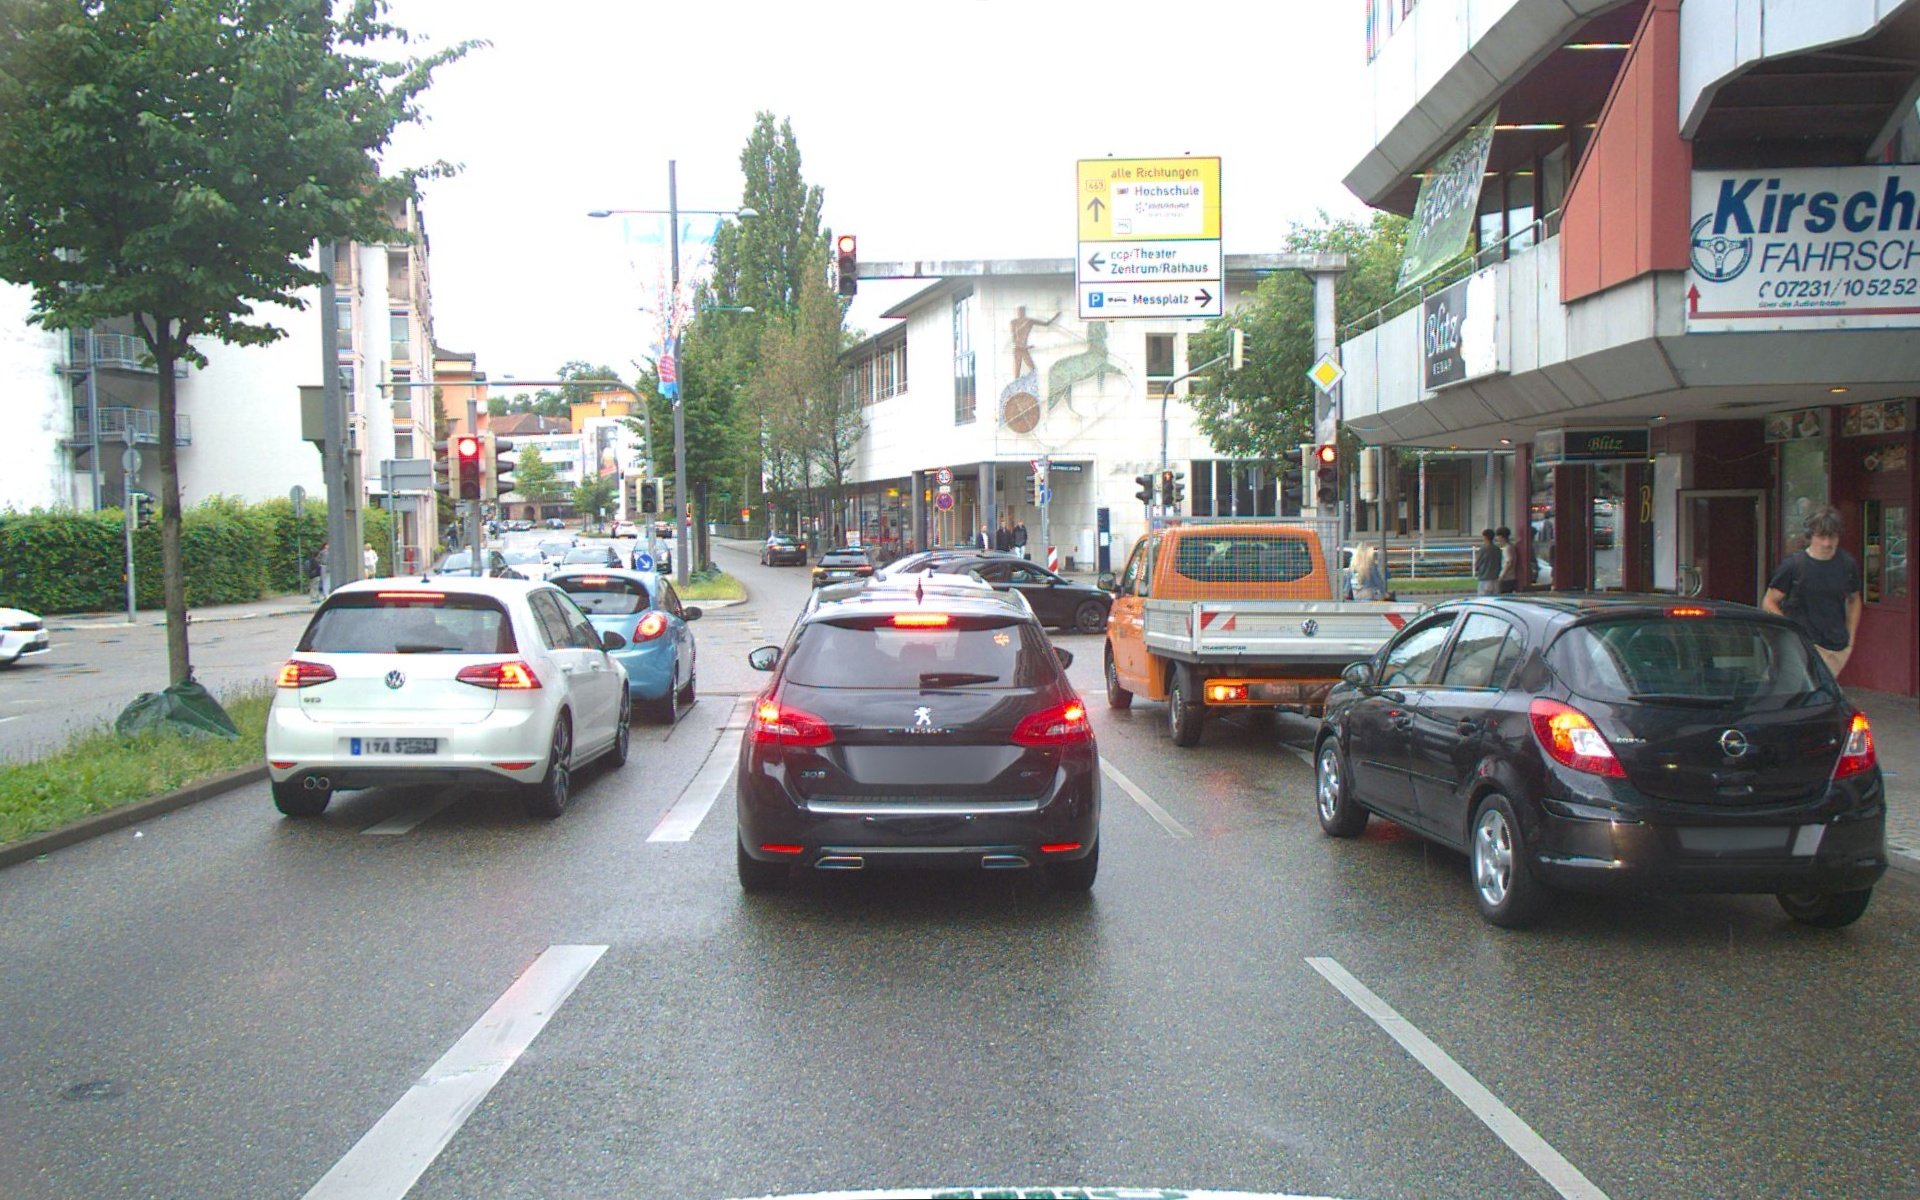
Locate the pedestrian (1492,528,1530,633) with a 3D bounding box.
[{"bbox_3d":[8.929,-0.314,26.815,0.388,1.668,0.504,-1,-1,0],"label":"pedestrian"}]

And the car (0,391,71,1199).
[{"bbox_3d":[-3.010,0.444,1.400,1.873,1.903,5.071,1,-1,-2],"label":"car"}]

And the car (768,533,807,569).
[{"bbox_3d":[-8.408,-2.373,80.464,1.692,1.516,4.724,1,-1,-8],"label":"car"}]

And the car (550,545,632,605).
[{"bbox_3d":[-10.589,-0.691,47.700,1.710,1.607,3.996,1,-1,-4],"label":"car"}]

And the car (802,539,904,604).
[{"bbox_3d":[-2.796,-0.800,44.289,1.749,1.479,4.512,-2,3,8],"label":"car"}]

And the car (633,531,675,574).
[{"bbox_3d":[-12.969,-1.983,70.045,1.713,1.669,3.989,1,-1,-11],"label":"car"}]

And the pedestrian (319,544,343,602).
[{"bbox_3d":[-19.510,-0.846,51.273,0.528,1.778,0.564,1,-1,-6],"label":"pedestrian"}]

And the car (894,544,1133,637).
[{"bbox_3d":[0.972,-0.199,30.701,4.152,1.592,1.700,-1,1,-12],"label":"car"}]

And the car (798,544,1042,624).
[{"bbox_3d":[-0.818,-0.323,33.002,4.641,1.512,1.633,0,1,-14],"label":"car"}]

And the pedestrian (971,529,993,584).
[{"bbox_3d":[0.723,-1.429,54.471,0.623,1.788,0.734,1,-1,6],"label":"pedestrian"}]

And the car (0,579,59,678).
[{"bbox_3d":[-16.950,0.431,26.363,4.215,1.512,1.634,0,1,-11],"label":"car"}]

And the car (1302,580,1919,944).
[{"bbox_3d":[3.100,0.644,8.692,1.584,1.454,3.839,1,1,-4],"label":"car"}]

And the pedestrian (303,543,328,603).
[{"bbox_3d":[-19.312,-0.811,49.577,0.529,1.778,0.746,1,-1,-9],"label":"pedestrian"}]

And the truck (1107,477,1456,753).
[{"bbox_3d":[2.828,0.059,15.878,2.133,2.210,5.018,1,2,-3],"label":"truck"}]

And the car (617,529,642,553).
[{"bbox_3d":[-29.110,-5.186,145.620,1.679,1.915,3.980,1,-1,-18],"label":"car"}]

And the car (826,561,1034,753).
[{"bbox_3d":[-0.274,0.415,15.204,1.662,1.512,3.793,1,2,-1],"label":"car"}]

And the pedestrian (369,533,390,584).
[{"bbox_3d":[-20.519,-1.452,58.464,0.584,1.758,0.655,1,-1,-9],"label":"pedestrian"}]

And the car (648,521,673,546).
[{"bbox_3d":[-26.593,-5.923,146.855,1.679,1.970,3.980,1,-1,-18],"label":"car"}]

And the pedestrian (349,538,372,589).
[{"bbox_3d":[-21.018,-1.264,57.986,0.584,1.758,0.655,1,-1,-9],"label":"pedestrian"}]

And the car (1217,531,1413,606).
[{"bbox_3d":[7.649,-0.650,35.705,3.828,1.512,1.618,1,-1,-13],"label":"car"}]

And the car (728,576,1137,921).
[{"bbox_3d":[-0.204,0.615,9.015,1.742,1.454,3.840,1,1,-3],"label":"car"}]

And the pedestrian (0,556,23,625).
[{"bbox_3d":[-22.933,-0.221,39.179,1.041,1.606,0.683,1,-1,-5],"label":"pedestrian"}]

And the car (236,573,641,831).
[{"bbox_3d":[-3.345,0.558,11.378,1.742,1.454,3.840,1,1,-3],"label":"car"}]

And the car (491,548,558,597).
[{"bbox_3d":[-14.135,-0.909,53.838,1.602,1.512,3.605,1,2,-7],"label":"car"}]

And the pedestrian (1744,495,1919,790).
[{"bbox_3d":[5.787,0.277,11.013,0.726,1.847,0.774,-4,-1,11],"label":"pedestrian"}]

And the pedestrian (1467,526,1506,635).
[{"bbox_3d":[8.401,-0.304,26.400,0.417,1.712,0.450,-1,-1,-2],"label":"pedestrian"}]

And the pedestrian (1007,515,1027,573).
[{"bbox_3d":[1.931,-1.877,55.819,0.623,1.930,0.734,1,-1,6],"label":"pedestrian"}]

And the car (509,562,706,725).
[{"bbox_3d":[-3.591,0.373,17.367,1.601,1.512,3.606,1,2,-6],"label":"car"}]

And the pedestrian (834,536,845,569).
[{"bbox_3d":[-6.604,-2.581,90.654,0.461,1.778,0.537,1,-1,-21],"label":"pedestrian"}]

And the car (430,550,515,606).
[{"bbox_3d":[-13.764,-0.639,46.816,1.543,1.512,3.607,1,2,-4],"label":"car"}]

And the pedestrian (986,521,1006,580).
[{"bbox_3d":[1.219,-1.659,55.738,0.623,1.930,0.734,1,-1,6],"label":"pedestrian"}]

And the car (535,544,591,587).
[{"bbox_3d":[-14.606,-1.277,60.977,1.602,1.512,3.605,1,2,-7],"label":"car"}]
